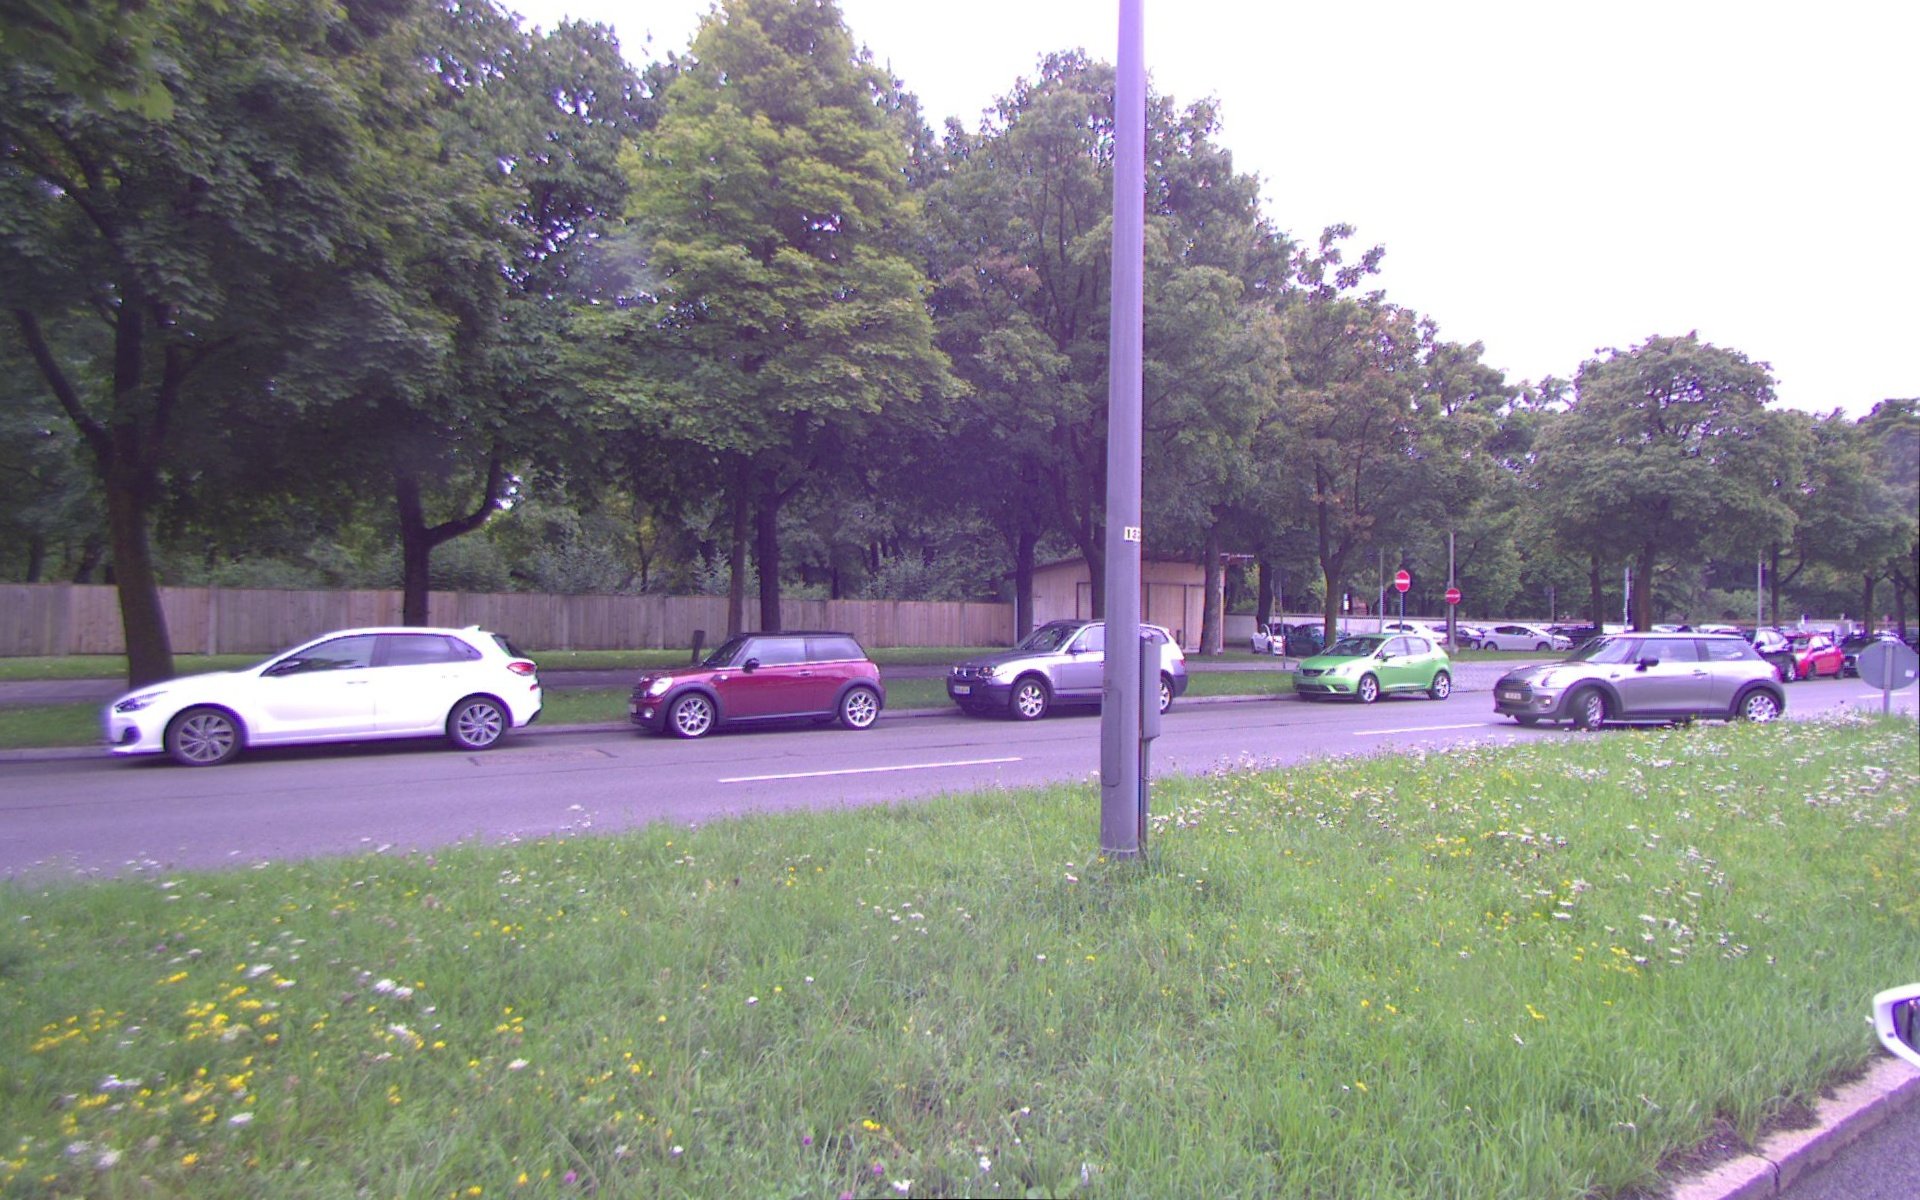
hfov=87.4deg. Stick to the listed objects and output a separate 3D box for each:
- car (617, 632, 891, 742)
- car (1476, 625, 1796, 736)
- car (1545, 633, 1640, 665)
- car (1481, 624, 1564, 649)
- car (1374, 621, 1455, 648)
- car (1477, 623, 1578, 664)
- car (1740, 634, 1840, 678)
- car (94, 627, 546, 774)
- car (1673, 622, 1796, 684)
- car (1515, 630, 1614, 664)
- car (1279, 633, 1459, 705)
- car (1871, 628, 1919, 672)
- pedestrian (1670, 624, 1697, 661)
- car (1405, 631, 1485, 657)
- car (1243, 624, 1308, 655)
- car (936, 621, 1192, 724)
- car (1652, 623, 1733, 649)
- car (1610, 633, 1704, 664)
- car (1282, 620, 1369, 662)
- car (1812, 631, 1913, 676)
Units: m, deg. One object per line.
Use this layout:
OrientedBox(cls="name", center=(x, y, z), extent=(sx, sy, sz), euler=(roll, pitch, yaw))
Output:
OrientedBox(cls="car", center=(-2.951, 1.179, 14.519), extent=(3.586, 1.415, 1.584), euler=(1, -2, -29))
OrientedBox(cls="car", center=(10.073, 1.167, 15.184), extent=(3.659, 1.482, 1.688), euler=(1, 0, 2))
OrientedBox(cls="car", center=(32.812, 2.511, 52.180), extent=(1.656, 1.465, 3.840), euler=(2, 0, -35))
OrientedBox(cls="car", center=(37.978, 2.435, 67.932), extent=(1.653, 1.465, 4.669), euler=(2, 0, -29))
OrientedBox(cls="car", center=(28.473, 2.167, 63.076), extent=(1.653, 1.496, 4.485), euler=(2, 0, -29))
OrientedBox(cls="car", center=(27.185, 2.066, 48.247), extent=(1.656, 1.740, 3.892), euler=(2, 0, -35))
OrientedBox(cls="car", center=(27.551, 1.821, 33.324), extent=(3.343, 1.329, 1.582), euler=(2, 0, -32))
OrientedBox(cls="car", center=(-7.268, 1.070, 11.866), extent=(4.230, 1.463, 1.599), euler=(1, -2, -31))
OrientedBox(cls="car", center=(23.669, 1.589, 30.678), extent=(3.836, 1.764, 1.707), euler=(2, 0, -32))
OrientedBox(cls="car", center=(29.782, 2.279, 49.578), extent=(1.656, 1.465, 3.840), euler=(2, 0, -35))
OrientedBox(cls="car", center=(8.893, 1.440, 21.779), extent=(3.831, 1.428, 1.541), euler=(1, -2, -29))
OrientedBox(cls="car", center=(36.736, 1.899, 38.588), extent=(3.836, 1.579, 1.582), euler=(2, 0, -32))
OrientedBox(cls="pedestrian", center=(31.513, 1.838, 43.744), extent=(0.712, 1.554, 0.724), euler=(1, 0, -30))
OrientedBox(cls="car", center=(31.834, 2.873, 66.067), extent=(1.653, 1.465, 4.669), euler=(2, 0, -29))
OrientedBox(cls="car", center=(14.288, 1.763, 45.759), extent=(1.639, 1.217, 4.421), euler=(2, 0, 1))
OrientedBox(cls="car", center=(1.861, 1.194, 17.493), extent=(4.322, 1.607, 1.682), euler=(1, -2, -32))
OrientedBox(cls="car", center=(46.364, 2.287, 63.650), extent=(1.656, 1.465, 3.840), euler=(2, 0, -35))
OrientedBox(cls="car", center=(37.771, 2.619, 54.502), extent=(1.656, 1.465, 3.840), euler=(2, 0, -35))
OrientedBox(cls="car", center=(14.522, 1.594, 40.128), extent=(1.922, 1.465, 4.421), euler=(2, 0, 1))
OrientedBox(cls="car", center=(32.150, 1.898, 35.776), extent=(3.836, 1.465, 1.658), euler=(2, 0, -32))
